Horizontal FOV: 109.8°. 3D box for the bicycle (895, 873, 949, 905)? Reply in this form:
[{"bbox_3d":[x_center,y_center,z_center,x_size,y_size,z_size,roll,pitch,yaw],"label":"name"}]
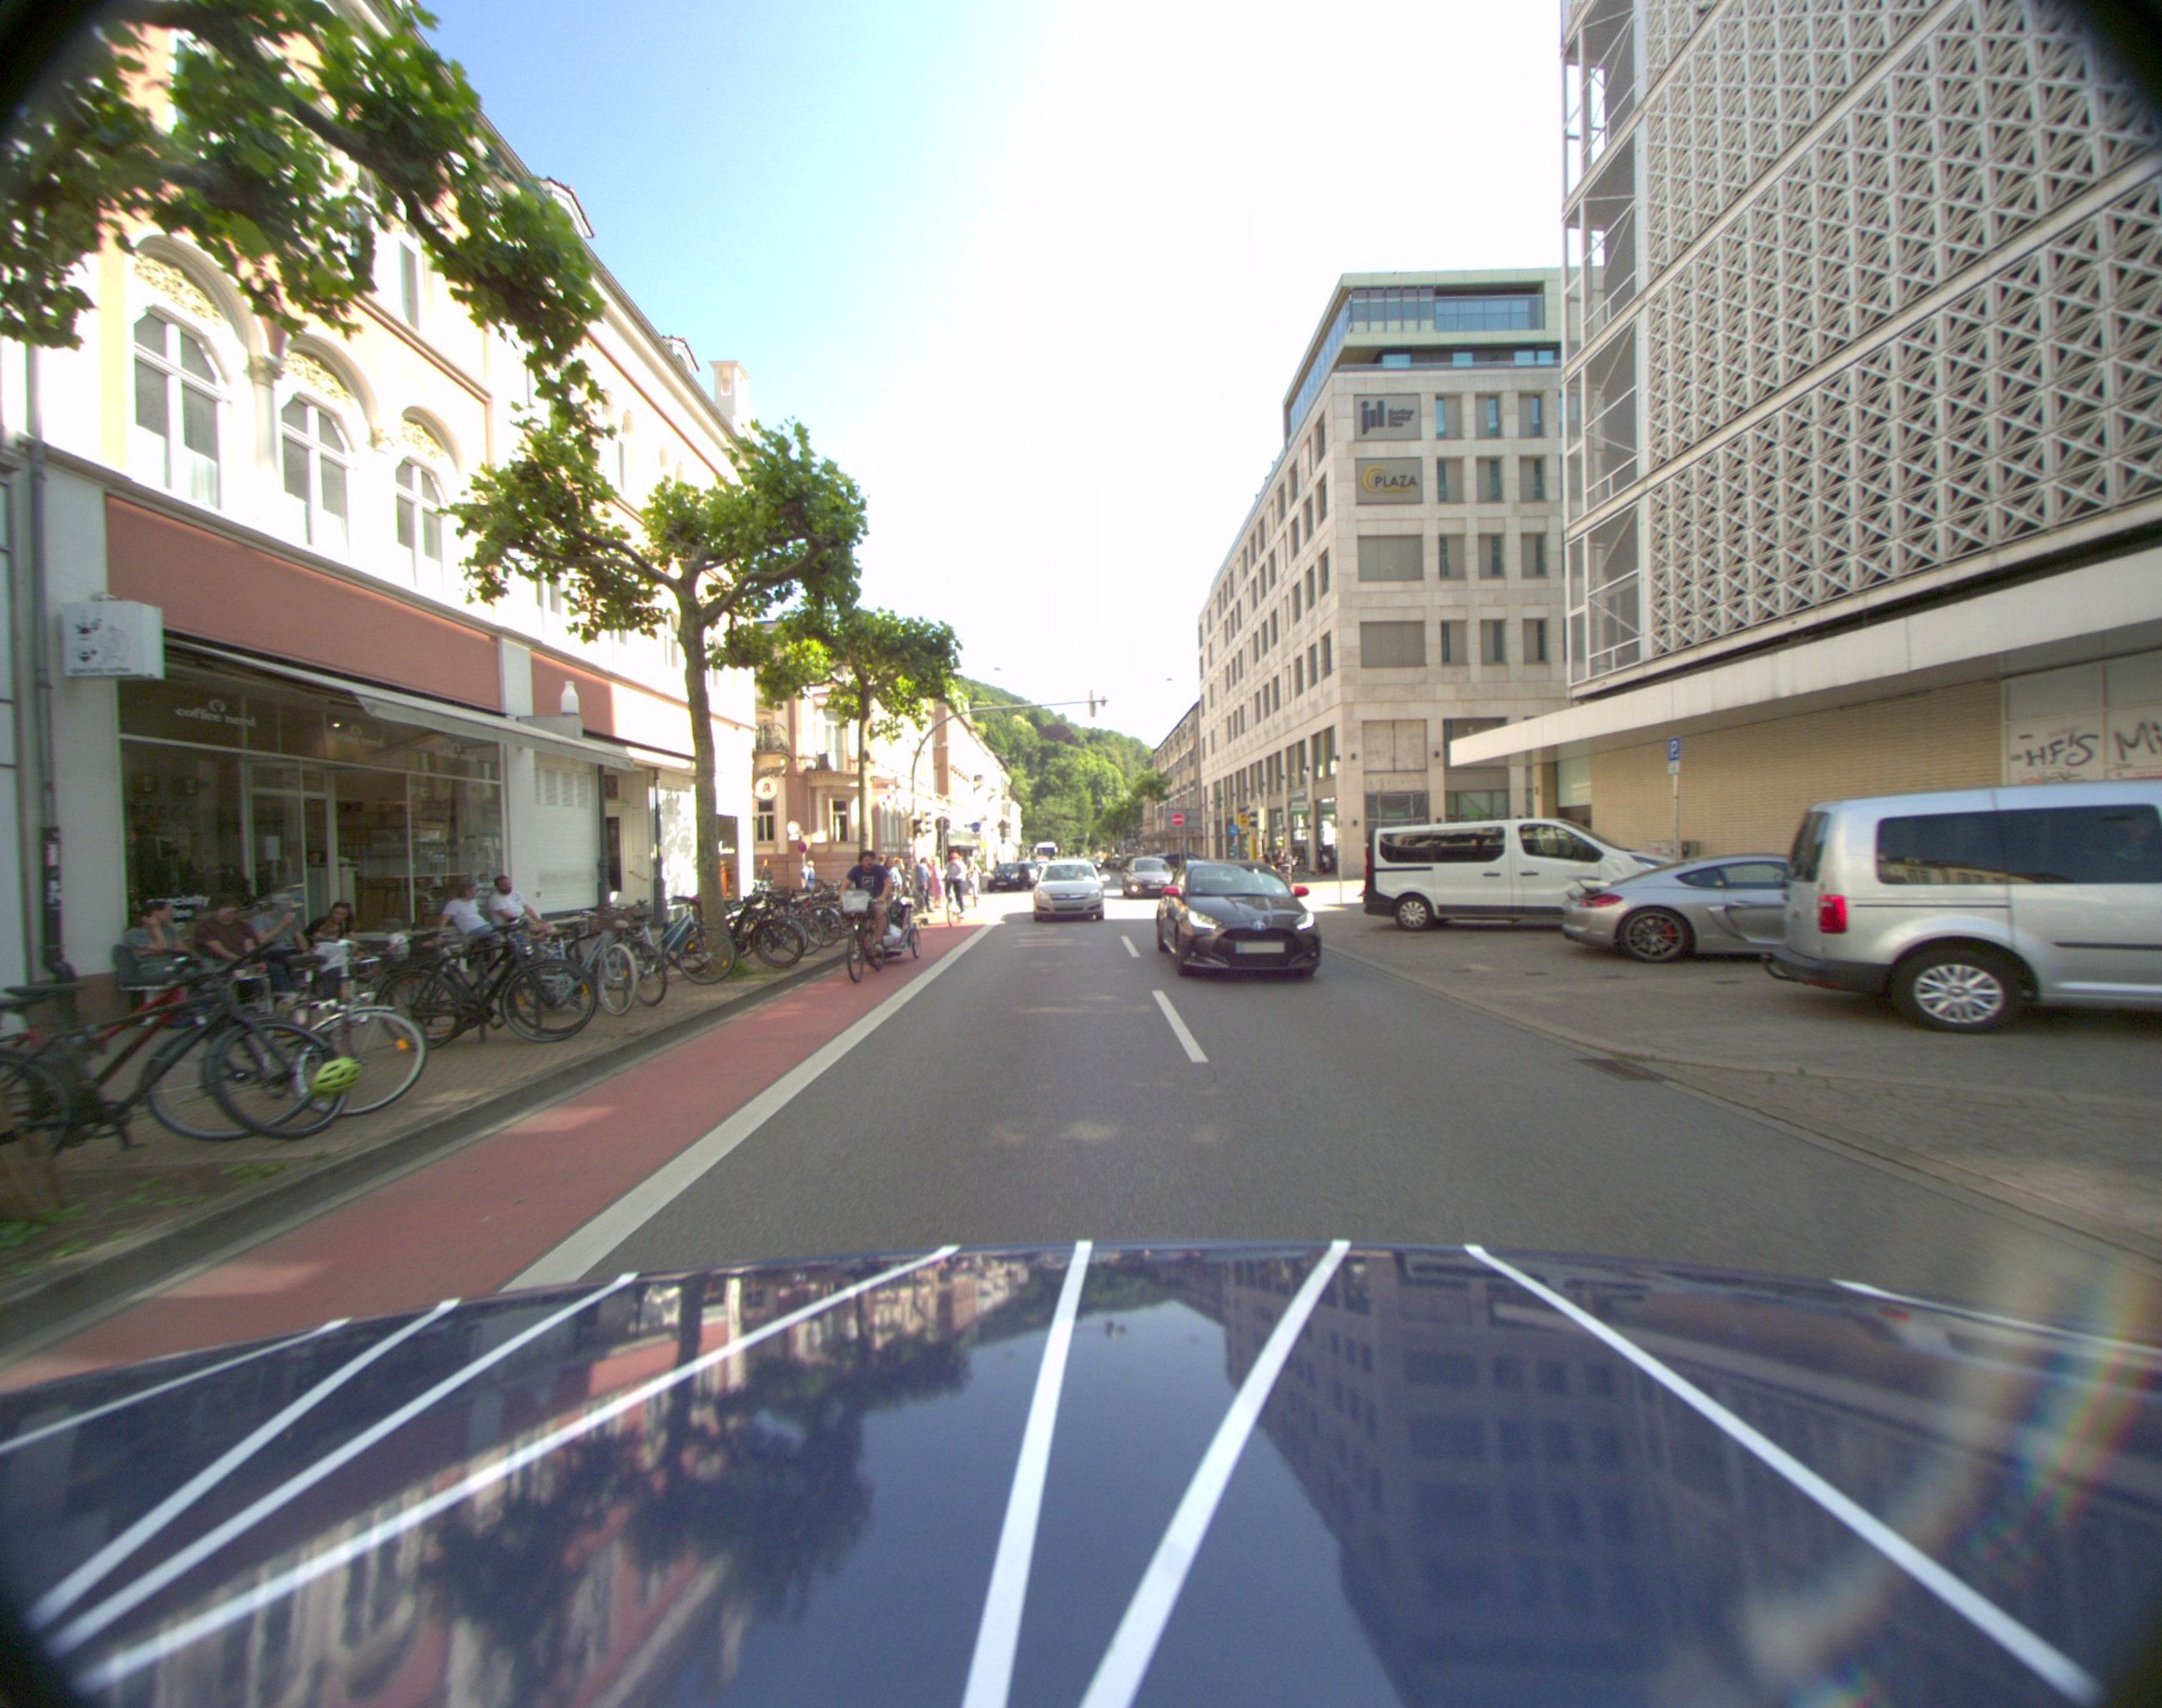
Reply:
[{"bbox_3d":[-6.040,1.332,28.960,1.844,1.120,0.666,-2,1,4],"label":"bicycle"}]

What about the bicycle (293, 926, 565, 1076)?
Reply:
[{"bbox_3d":[-5.335,1.194,6.259,1.844,1.120,0.448,-1,2,2],"label":"bicycle"}]

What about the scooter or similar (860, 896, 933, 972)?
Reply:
[{"bbox_3d":[-2.918,1.253,12.126,0.785,1.054,1.126,-3,1,2],"label":"scooter or similar"}]

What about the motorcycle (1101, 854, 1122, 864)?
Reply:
[{"bbox_3d":[4.222,0.754,105.916,0.980,1.342,3.094,-2,0,-44],"label":"motorcycle"}]

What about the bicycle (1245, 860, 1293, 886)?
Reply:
[{"bbox_3d":[8.394,0.849,33.987,1.991,1.120,0.799,-2,0,7],"label":"bicycle"}]

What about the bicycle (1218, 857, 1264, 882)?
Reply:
[{"bbox_3d":[7.675,0.743,36.431,2.058,1.162,0.606,-1,1,36],"label":"bicycle"}]

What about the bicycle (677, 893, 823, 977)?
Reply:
[{"bbox_3d":[-4.911,1.194,11.349,1.844,1.120,0.666,-2,2,2],"label":"bicycle"}]

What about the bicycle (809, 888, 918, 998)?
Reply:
[{"bbox_3d":[-2.929,1.149,10.493,0.734,1.261,2.283,-3,-1,2],"label":"bicycle"}]

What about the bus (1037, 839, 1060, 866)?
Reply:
[{"bbox_3d":[-4.489,-0.290,106.081,2.924,3.516,12.496,-1,1,-2],"label":"bus"}]

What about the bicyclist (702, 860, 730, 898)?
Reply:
[{"bbox_3d":[-15.409,1.044,32.099,0.747,1.564,0.844,-1,1,0],"label":"bicyclist"}]

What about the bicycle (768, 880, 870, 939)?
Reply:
[{"bbox_3d":[-5.363,1.135,15.605,1.843,1.120,0.667,-1,2,7],"label":"bicycle"}]

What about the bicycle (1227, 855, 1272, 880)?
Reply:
[{"bbox_3d":[8.316,0.672,37.577,2.059,1.120,0.648,-2,0,26],"label":"bicycle"}]

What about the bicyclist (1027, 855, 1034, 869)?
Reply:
[{"bbox_3d":[-6.490,1.020,97.686,0.747,1.693,1.036,-1,1,0],"label":"bicyclist"}]

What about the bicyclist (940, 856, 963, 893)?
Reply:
[{"bbox_3d":[-6.033,0.955,35.519,0.910,1.707,0.844,-1,1,0],"label":"bicyclist"}]

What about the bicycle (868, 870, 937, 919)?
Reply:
[{"bbox_3d":[-4.802,1.102,20.396,1.852,1.181,0.718,-6,-3,38],"label":"bicycle"}]

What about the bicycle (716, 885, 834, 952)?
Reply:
[{"bbox_3d":[-5.533,1.159,13.811,1.844,1.120,0.666,-2,2,2],"label":"bicycle"}]

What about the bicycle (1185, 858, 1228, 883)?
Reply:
[{"bbox_3d":[6.069,0.794,36.887,2.059,1.166,0.606,-2,2,44],"label":"bicycle"}]

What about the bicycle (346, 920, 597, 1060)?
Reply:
[{"bbox_3d":[-5.356,1.191,6.718,1.844,1.120,0.448,-1,2,2],"label":"bicycle"}]

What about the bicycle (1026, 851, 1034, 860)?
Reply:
[{"bbox_3d":[-6.515,0.179,97.036,0.743,1.120,2.573,0,1,1],"label":"bicycle"}]

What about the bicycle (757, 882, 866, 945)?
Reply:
[{"bbox_3d":[-5.212,1.140,14.781,1.844,1.120,0.666,-2,2,2],"label":"bicycle"}]

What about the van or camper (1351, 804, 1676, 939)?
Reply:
[{"bbox_3d":[7.529,0.344,13.482,4.648,2.002,2.004,-4,0,39],"label":"van or camper"}]

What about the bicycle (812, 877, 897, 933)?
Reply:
[{"bbox_3d":[-5.023,1.135,16.864,1.843,1.120,0.346,-4,0,15],"label":"bicycle"}]

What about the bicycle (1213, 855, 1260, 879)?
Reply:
[{"bbox_3d":[8.207,0.669,40.080,2.324,1.120,0.563,-4,1,24],"label":"bicycle"}]

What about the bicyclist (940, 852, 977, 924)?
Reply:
[{"bbox_3d":[-3.016,0.822,18.795,0.684,1.707,0.844,-2,1,1],"label":"bicyclist"}]

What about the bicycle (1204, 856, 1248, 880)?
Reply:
[{"bbox_3d":[7.539,0.736,39.531,2.060,1.120,0.563,-4,0,24],"label":"bicycle"}]

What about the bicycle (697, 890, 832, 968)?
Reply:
[{"bbox_3d":[-5.042,1.184,12.161,1.844,1.120,0.666,-2,2,2],"label":"bicycle"}]

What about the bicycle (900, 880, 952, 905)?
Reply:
[{"bbox_3d":[-5.872,1.461,28.871,1.826,0.839,0.501,-2,1,0],"label":"bicycle"}]

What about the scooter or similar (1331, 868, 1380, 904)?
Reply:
[{"bbox_3d":[8.024,0.931,22.237,0.974,0.959,0.900,-3,1,-21],"label":"scooter or similar"}]

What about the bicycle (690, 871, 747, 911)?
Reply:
[{"bbox_3d":[-15.405,1.552,32.400,0.750,1.122,3.236,0,8,1],"label":"bicycle"}]

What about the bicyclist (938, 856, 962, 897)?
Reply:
[{"bbox_3d":[-5.549,0.961,32.287,0.840,1.707,0.844,-1,1,0],"label":"bicyclist"}]

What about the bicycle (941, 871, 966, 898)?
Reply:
[{"bbox_3d":[-5.450,1.278,32.533,0.664,1.111,1.992,-1,-1,1],"label":"bicycle"}]

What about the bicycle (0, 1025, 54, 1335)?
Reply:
[{"bbox_3d":[-4.836,1.240,2.577,1.844,1.087,0.564,-3,1,0],"label":"bicycle"}]

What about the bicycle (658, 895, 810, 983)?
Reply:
[{"bbox_3d":[-4.840,1.182,10.653,1.844,1.120,0.530,-2,2,2],"label":"bicycle"}]

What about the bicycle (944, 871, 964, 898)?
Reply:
[{"bbox_3d":[-5.946,1.418,35.654,0.749,1.111,1.917,-3,1,-7],"label":"bicycle"}]

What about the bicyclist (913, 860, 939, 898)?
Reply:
[{"bbox_3d":[-5.885,0.930,28.868,0.861,1.403,0.501,-1,1,0],"label":"bicyclist"}]

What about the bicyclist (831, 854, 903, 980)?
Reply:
[{"bbox_3d":[-2.930,0.835,10.477,0.732,1.664,0.774,-1,1,0],"label":"bicyclist"}]

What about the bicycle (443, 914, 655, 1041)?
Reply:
[{"bbox_3d":[-5.258,1.221,7.520,1.843,1.120,0.530,-3,1,12],"label":"bicycle"}]

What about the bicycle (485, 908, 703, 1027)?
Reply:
[{"bbox_3d":[-5.248,1.192,8.233,1.989,1.120,0.762,-1,2,12],"label":"bicycle"}]

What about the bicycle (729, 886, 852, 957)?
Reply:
[{"bbox_3d":[-5.027,1.157,13.207,1.844,1.120,0.643,-2,2,2],"label":"bicycle"}]

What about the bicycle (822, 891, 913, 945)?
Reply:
[{"bbox_3d":[-4.947,1.487,17.670,1.855,0.396,1.014,-10,35,4],"label":"bicycle"}]

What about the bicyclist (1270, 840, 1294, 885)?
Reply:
[{"bbox_3d":[8.932,0.383,33.866,0.843,1.948,1.017,-2,1,6],"label":"bicyclist"}]

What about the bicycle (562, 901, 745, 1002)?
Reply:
[{"bbox_3d":[-5.248,1.190,9.390,1.844,1.120,0.679,-1,2,2],"label":"bicycle"}]
